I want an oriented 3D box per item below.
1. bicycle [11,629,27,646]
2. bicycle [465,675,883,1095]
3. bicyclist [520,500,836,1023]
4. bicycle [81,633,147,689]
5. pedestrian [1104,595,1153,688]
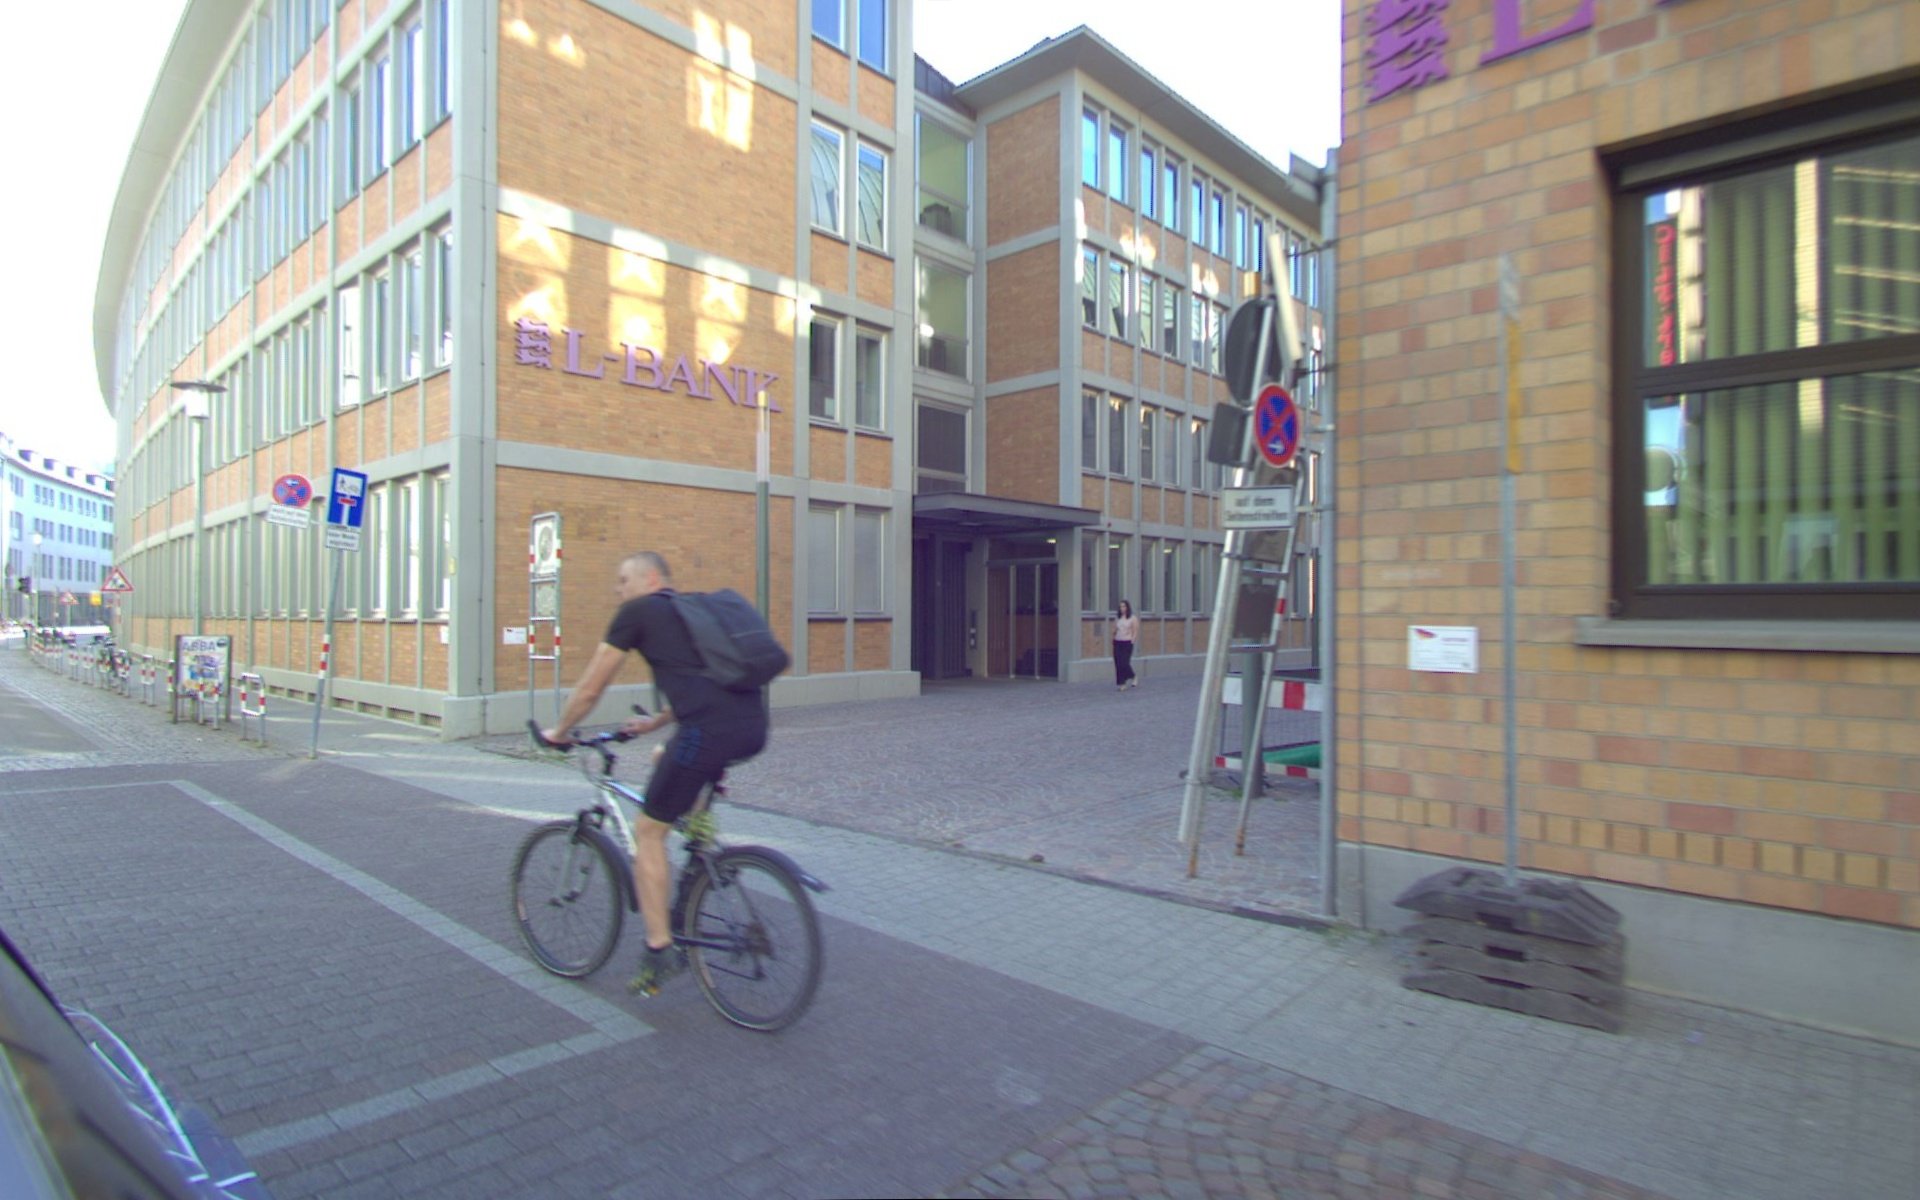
[{"bbox_3d":[-55.189,2.172,59.336,0.613,0.968,1.722,0,-1,-41],"label":"bicycle"},{"bbox_3d":[-1.145,0.904,3.822,1.735,1.140,0.644,0,-4,43],"label":"bicycle"},{"bbox_3d":[-1.058,0.525,3.782,0.925,1.655,0.655,0,-4,42],"label":"bicyclist"},{"bbox_3d":[-17.204,1.211,20.565,1.819,1.062,0.620,-1,-1,37],"label":"bicycle"},{"bbox_3d":[3.332,0.811,20.057,0.693,1.793,0.688,-1,-1,42],"label":"pedestrian"}]
